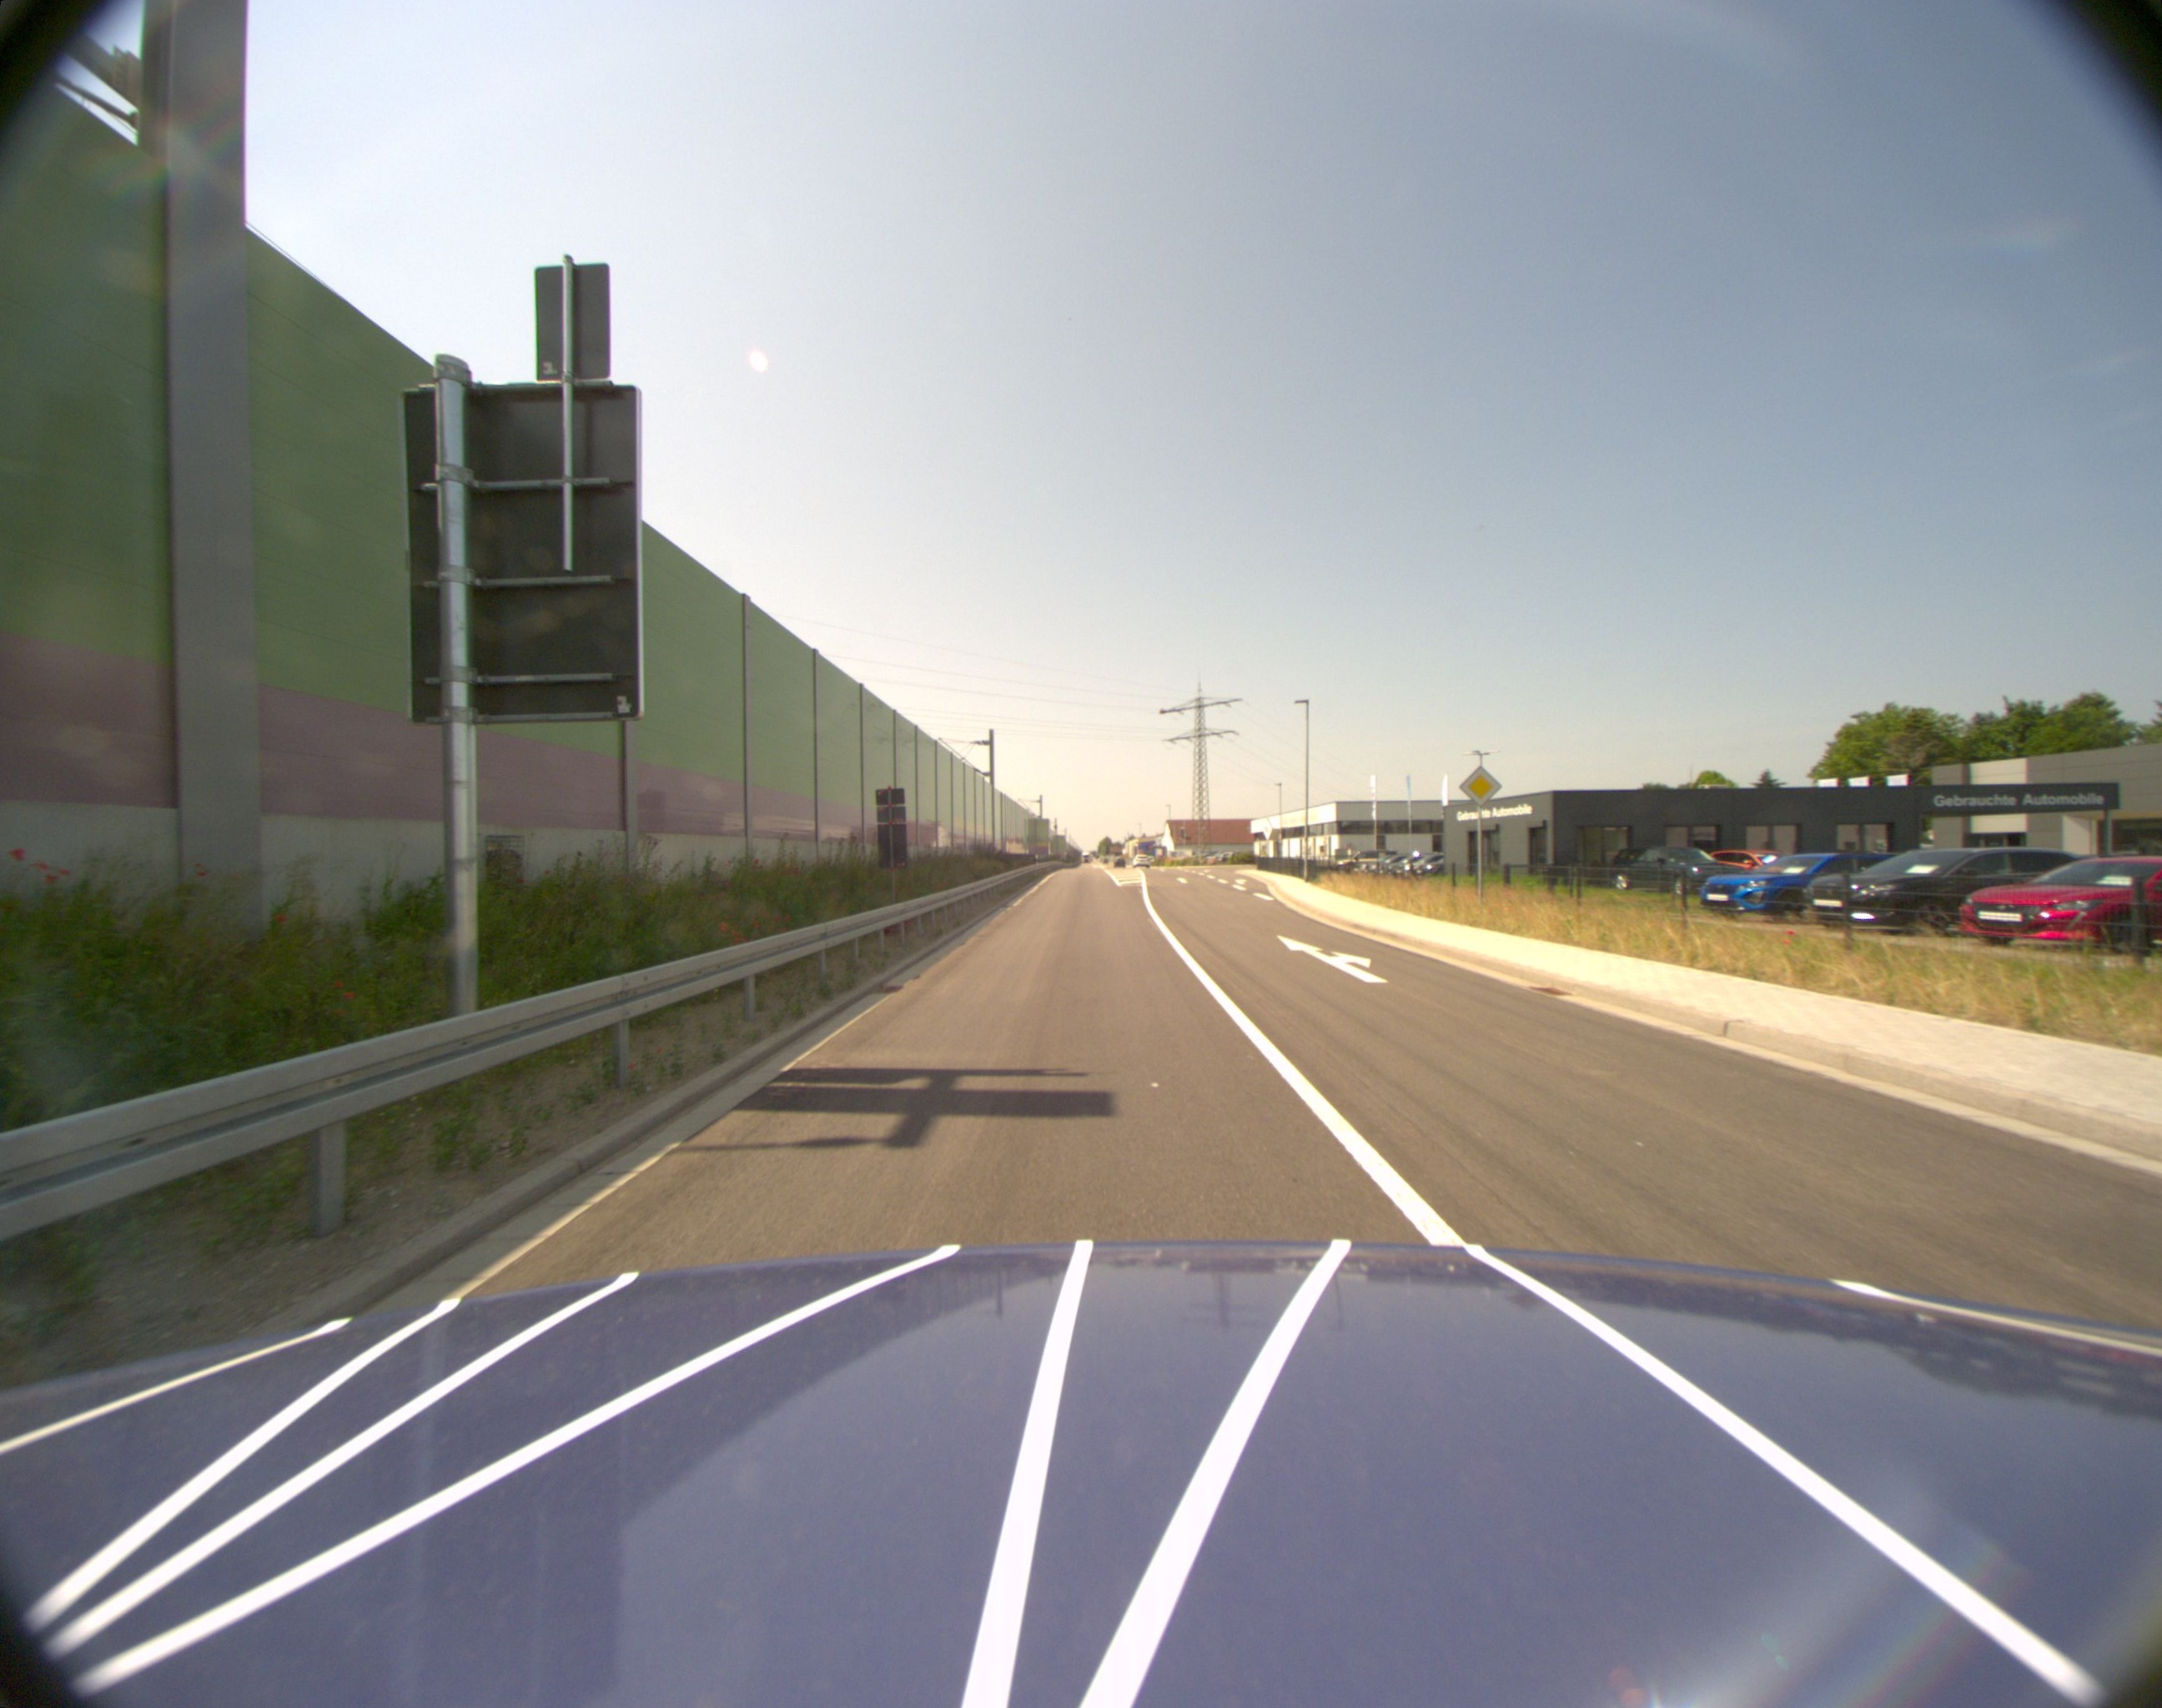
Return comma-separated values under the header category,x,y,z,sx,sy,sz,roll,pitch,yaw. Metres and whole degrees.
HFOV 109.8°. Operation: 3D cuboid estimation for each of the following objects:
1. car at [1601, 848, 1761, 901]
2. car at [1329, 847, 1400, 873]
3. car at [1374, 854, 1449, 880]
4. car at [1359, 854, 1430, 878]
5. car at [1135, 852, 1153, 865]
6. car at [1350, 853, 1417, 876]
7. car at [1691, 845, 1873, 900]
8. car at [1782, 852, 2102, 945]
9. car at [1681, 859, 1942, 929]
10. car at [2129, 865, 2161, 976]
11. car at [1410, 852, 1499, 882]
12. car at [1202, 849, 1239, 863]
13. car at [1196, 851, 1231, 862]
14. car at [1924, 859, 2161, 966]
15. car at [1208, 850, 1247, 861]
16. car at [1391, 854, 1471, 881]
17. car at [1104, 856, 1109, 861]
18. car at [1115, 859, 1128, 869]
category,x,y,z,sx,sy,sz,roll,pitch,yaw
car,21.337,0.651,27.324,1.959,1.729,4.750,0,1,0
car,21.593,0.474,57.933,4.666,1.854,2.070,-1,2,38
car,21.222,0.831,48.865,3.997,1.622,1.977,0,0,-1
car,21.265,0.816,51.580,3.997,1.622,1.977,0,0,-1
car,7.107,0.455,86.044,1.785,1.407,4.050,0,0,2
car,21.555,0.751,54.256,3.997,1.622,1.886,0,0,-1
car,24.345,0.553,26.703,1.959,1.729,4.750,0,1,0
car,15.942,0.791,14.228,3.997,1.626,1.815,0,0,-1
car,16.071,0.846,16.872,3.997,1.472,1.911,0,0,-1
car,16.003,0.849,9.288,3.997,1.436,1.786,0,0,-1
car,21.128,0.732,43.091,4.159,1.622,1.823,0,0,-1
car,17.139,0.255,93.320,4.235,1.638,1.833,0,0,-3
car,16.767,0.359,96.580,3.999,1.405,1.999,0,0,-7
car,15.999,0.836,11.738,3.997,1.519,1.815,0,0,-1
car,17.331,0.170,90.208,4.235,1.307,1.833,0,0,-3
car,21.199,0.803,46.164,3.997,1.622,1.968,0,0,1
car,8.374,1.418,248.692,1.675,1.414,4.000,1,0,0
car,6.756,1.605,126.961,1.882,1.663,4.291,0,0,1
